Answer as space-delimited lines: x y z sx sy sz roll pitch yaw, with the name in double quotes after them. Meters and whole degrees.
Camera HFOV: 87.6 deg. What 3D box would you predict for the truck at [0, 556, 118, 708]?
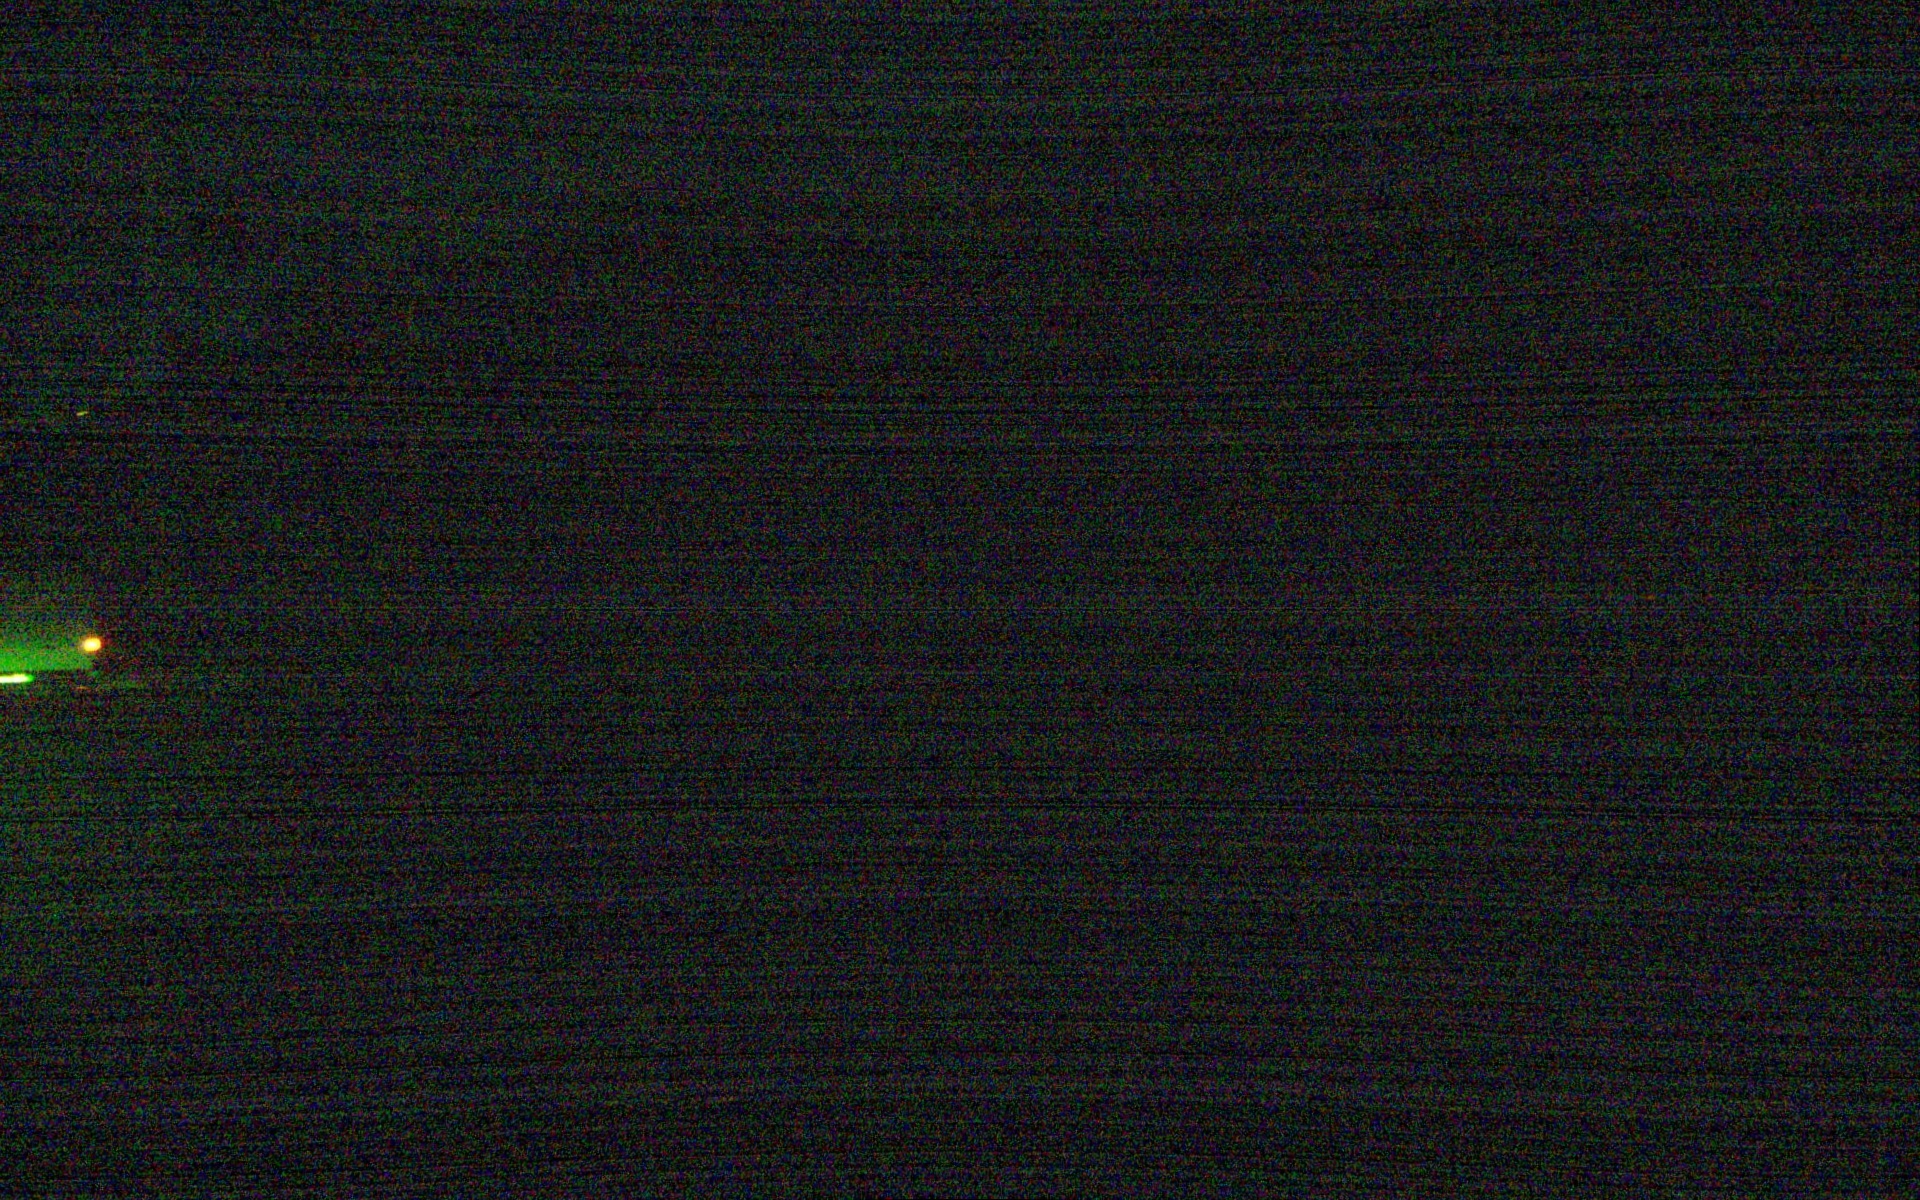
-19.961 0.703 20.423 7.203 2.725 2.074 -2 -2 31 "truck"
